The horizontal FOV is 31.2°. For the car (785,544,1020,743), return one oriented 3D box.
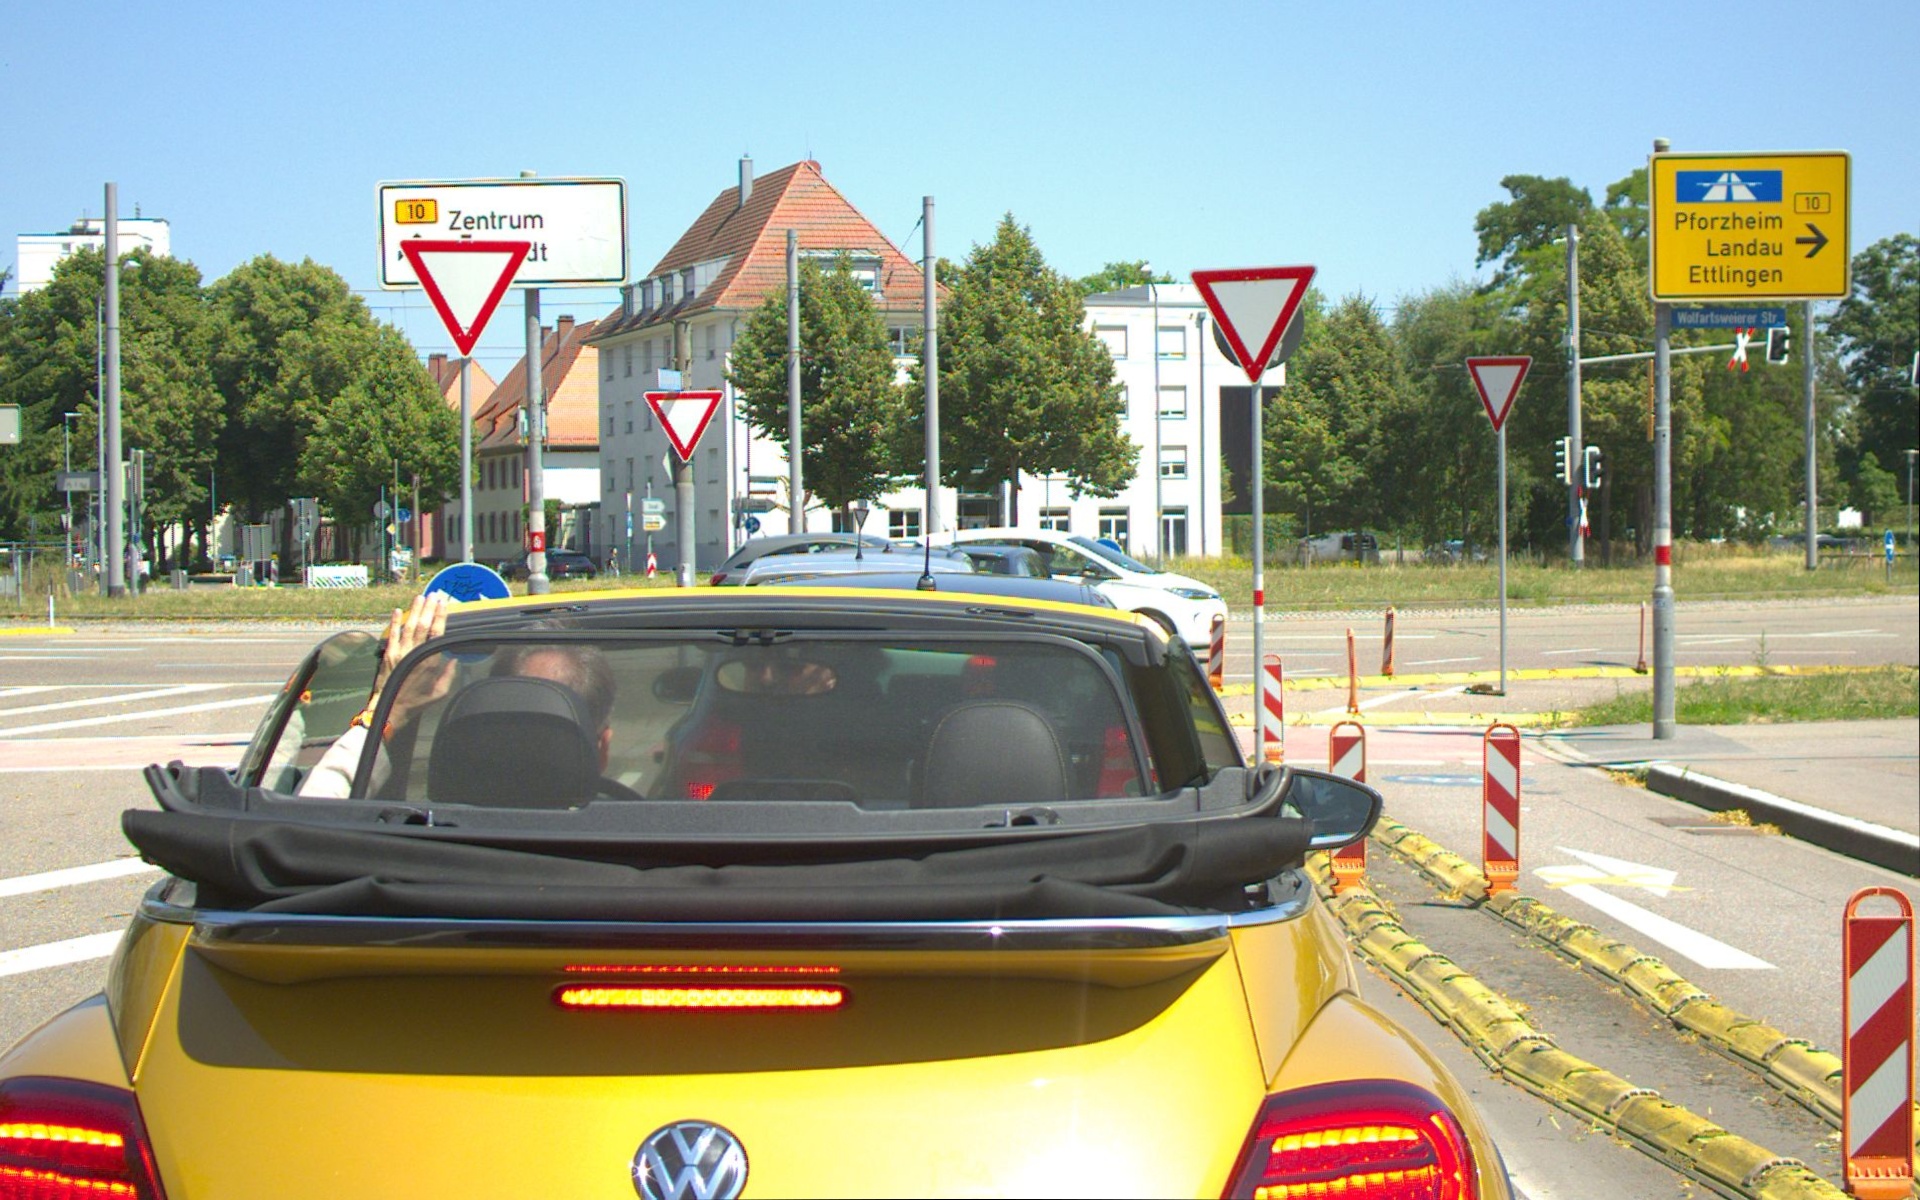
[{"bbox_3d":[-0.445,0.291,27.473,1.736,1.472,4.000,0,1,-1],"label":"car"}]

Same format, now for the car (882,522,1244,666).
[{"bbox_3d":[1.220,-0.083,39.891,4.001,1.614,1.680,0,1,10],"label":"car"}]

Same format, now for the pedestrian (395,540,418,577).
[{"bbox_3d":[-18.452,-1.389,114.593,0.675,1.226,0.499,0,1,-23],"label":"pedestrian"}]

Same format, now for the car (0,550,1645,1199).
[{"bbox_3d":[-0.315,0.642,4.848,1.752,1.417,3.778,0,1,-1],"label":"car"}]

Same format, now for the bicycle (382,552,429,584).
[{"bbox_3d":[-18.494,-1.061,114.579,1.465,1.067,0.499,0,1,-23],"label":"bicycle"}]

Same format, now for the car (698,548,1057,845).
[{"bbox_3d":[-0.418,0.440,18.672,1.736,1.437,4.000,0,1,-1],"label":"car"}]

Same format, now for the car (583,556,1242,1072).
[{"bbox_3d":[-0.152,0.578,11.659,1.848,1.437,4.000,0,1,-1],"label":"car"}]

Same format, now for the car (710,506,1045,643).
[{"bbox_3d":[-1.035,-0.321,44.210,3.988,1.491,1.647,-3,0,9],"label":"car"}]
